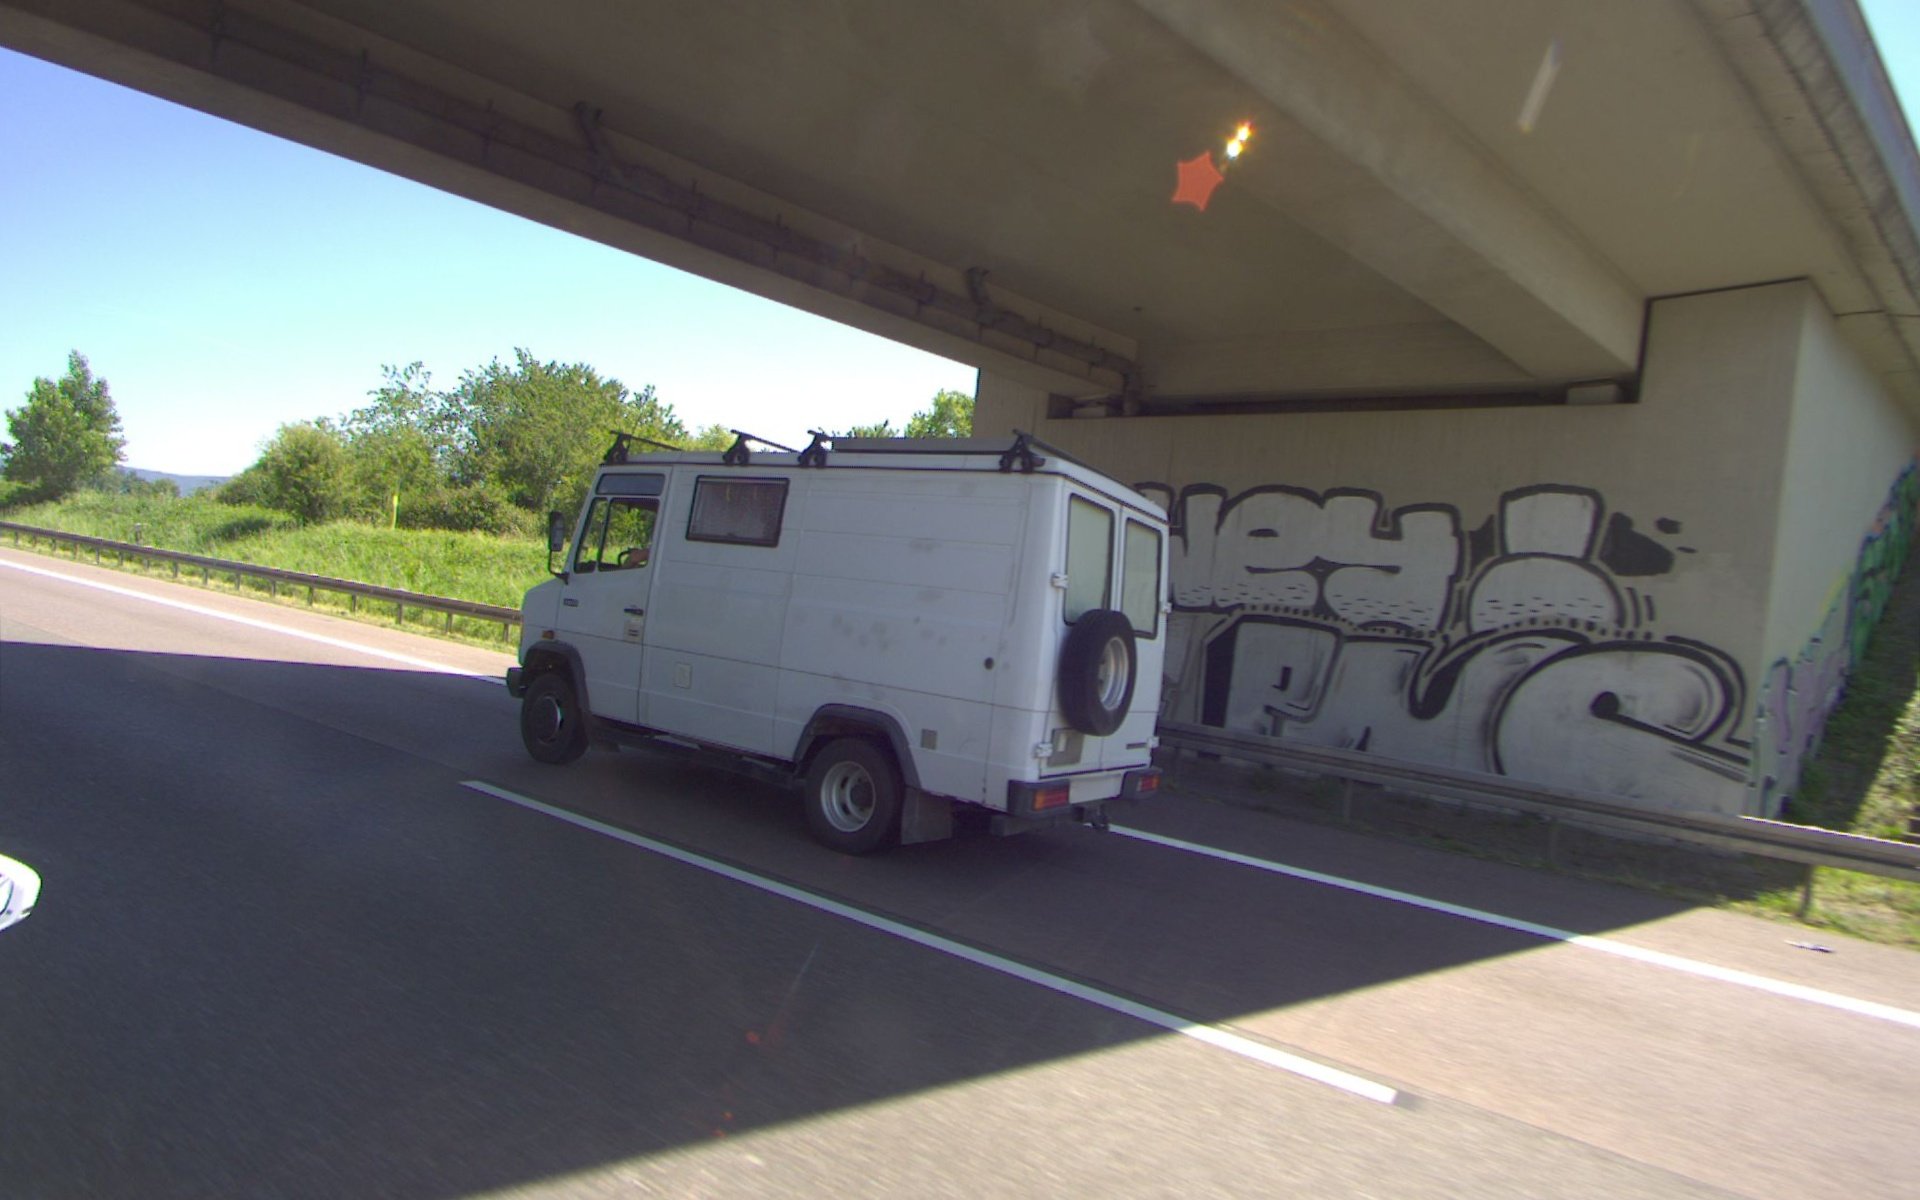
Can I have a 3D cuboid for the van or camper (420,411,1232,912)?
[{"bbox_3d":[-1.378,0.142,8.030,6.263,2.735,2.117,6,-1,32],"label":"van or camper"}]
